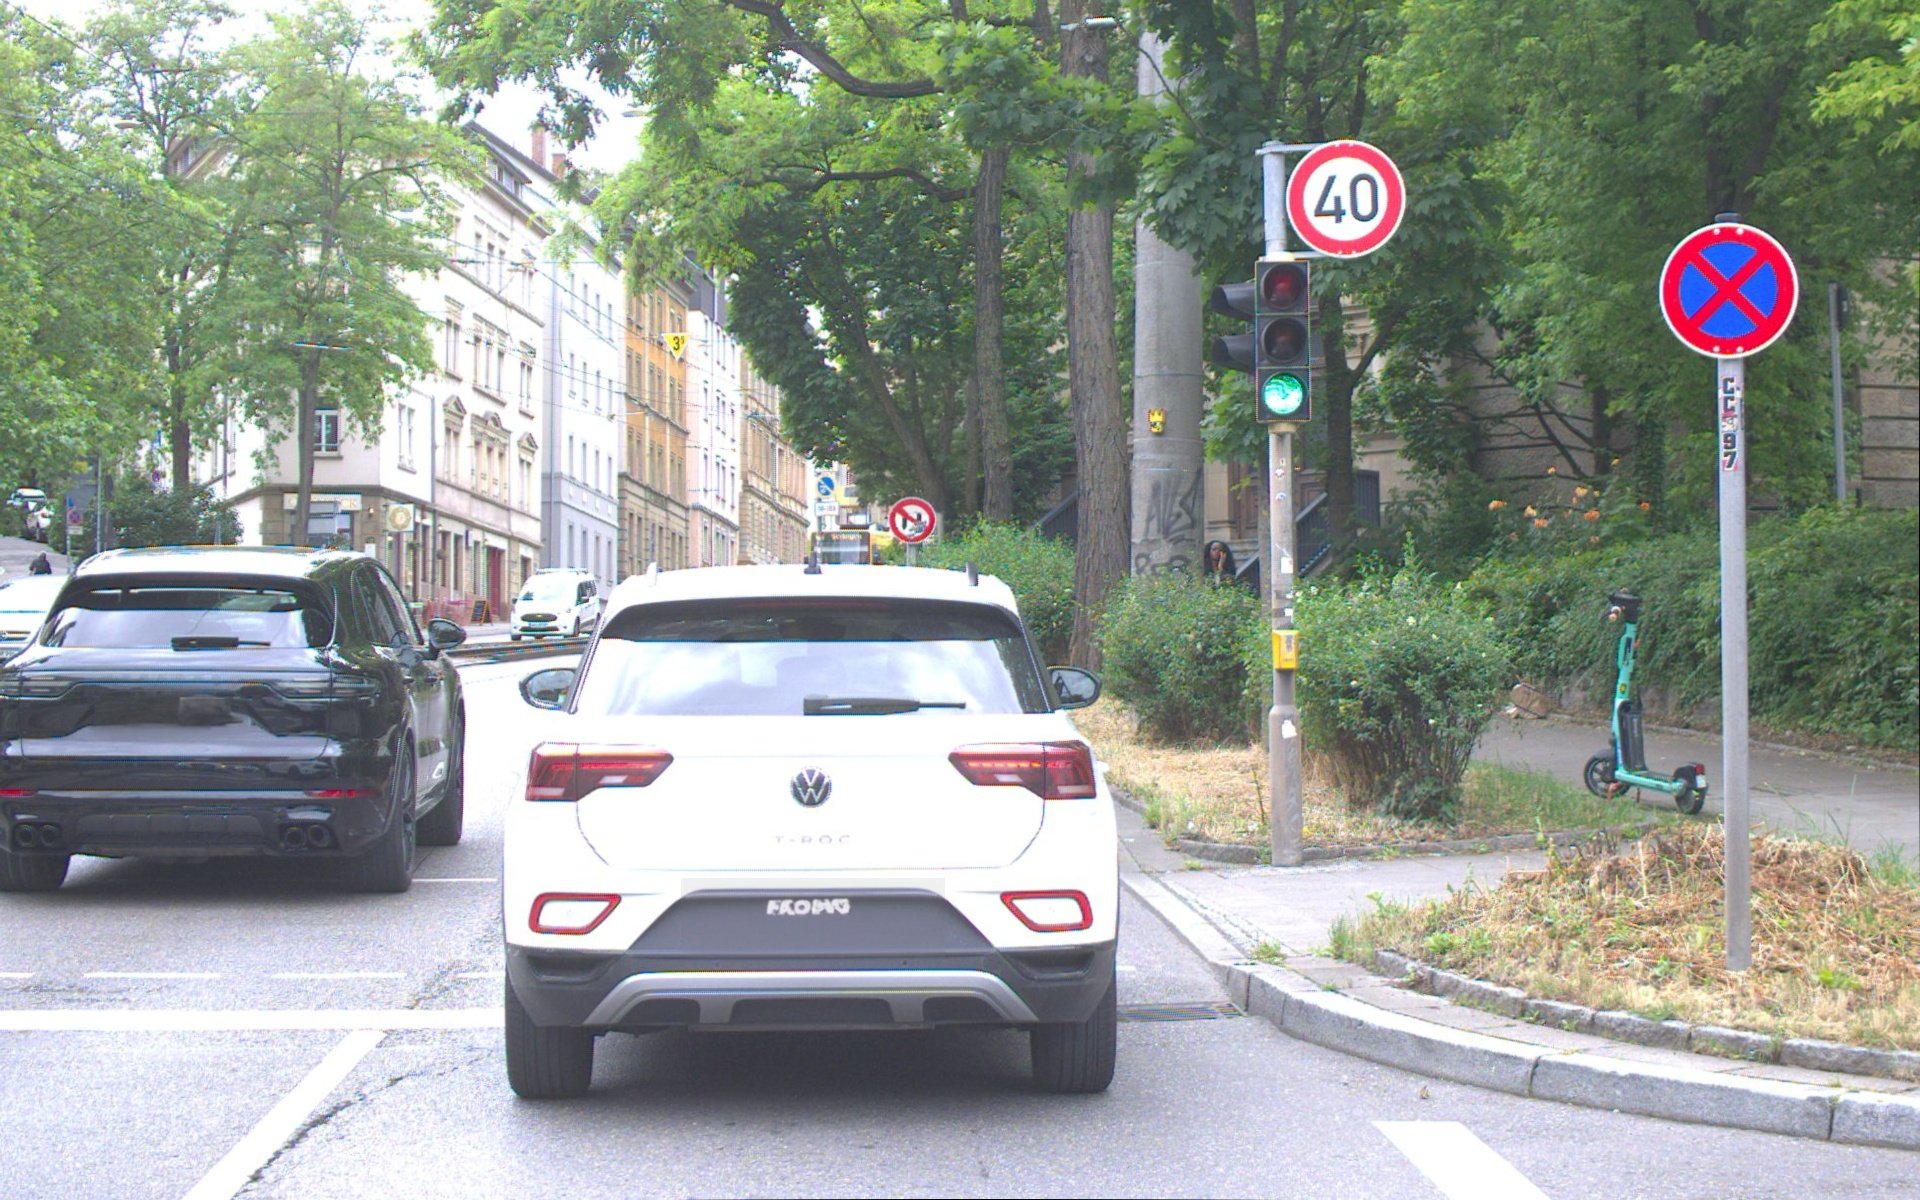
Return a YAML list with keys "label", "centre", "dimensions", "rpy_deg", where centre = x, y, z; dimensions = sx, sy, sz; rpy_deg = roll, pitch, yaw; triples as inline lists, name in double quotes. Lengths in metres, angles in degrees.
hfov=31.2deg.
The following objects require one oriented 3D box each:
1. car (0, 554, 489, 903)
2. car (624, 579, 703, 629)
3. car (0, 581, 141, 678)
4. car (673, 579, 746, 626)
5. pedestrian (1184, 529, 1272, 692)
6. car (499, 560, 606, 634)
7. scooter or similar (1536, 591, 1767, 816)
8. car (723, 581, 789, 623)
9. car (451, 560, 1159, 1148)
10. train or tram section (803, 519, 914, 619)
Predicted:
- label: "car"
  centre: [-3.642, 0.564, 17.666]
  dimensions: [2.037, 1.566, 4.358]
  rpy_deg: [0, 0, -3]
- label: "car"
  centre: [-9.555, 0.112, 111.030]
  dimensions: [1.994, 1.547, 4.000]
  rpy_deg: [-1, 0, 3]
- label: "car"
  centre: [-14.251, 0.437, 53.745]
  dimensions: [1.659, 1.438, 3.739]
  rpy_deg: [-1, 0, 6]
- label: "car"
  centre: [-8.603, 0.070, 118.461]
  dimensions: [1.994, 1.547, 4.000]
  rpy_deg: [-1, 0, 3]
- label: "pedestrian"
  centre: [2.831, 0.110, 36.335]
  dimensions: [0.771, 1.697, 0.785]
  rpy_deg: [-1, 0, -7]
- label: "car"
  centre: [-11.153, -0.111, 94.406]
  dimensions: [1.947, 1.939, 5.001]
  rpy_deg: [0, 1, 5]
- label: "scooter or similar"
  centre: [3.880, 0.556, 19.397]
  dimensions: [0.630, 1.206, 1.558]
  rpy_deg: [-1, 0, -16]
- label: "car"
  centre: [-7.583, 0.059, 128.137]
  dimensions: [1.994, 1.547, 4.000]
  rpy_deg: [-1, 0, 3]
- label: "car"
  centre: [-0.553, 0.658, 11.132]
  dimensions: [1.878, 1.549, 4.001]
  rpy_deg: [0, 0, -4]
- label: "train or tram section"
  centre: [-3.963, -1.224, 138.047]
  dimensions: [2.883, 3.713, 14.854]
  rpy_deg: [1, 0, 4]
